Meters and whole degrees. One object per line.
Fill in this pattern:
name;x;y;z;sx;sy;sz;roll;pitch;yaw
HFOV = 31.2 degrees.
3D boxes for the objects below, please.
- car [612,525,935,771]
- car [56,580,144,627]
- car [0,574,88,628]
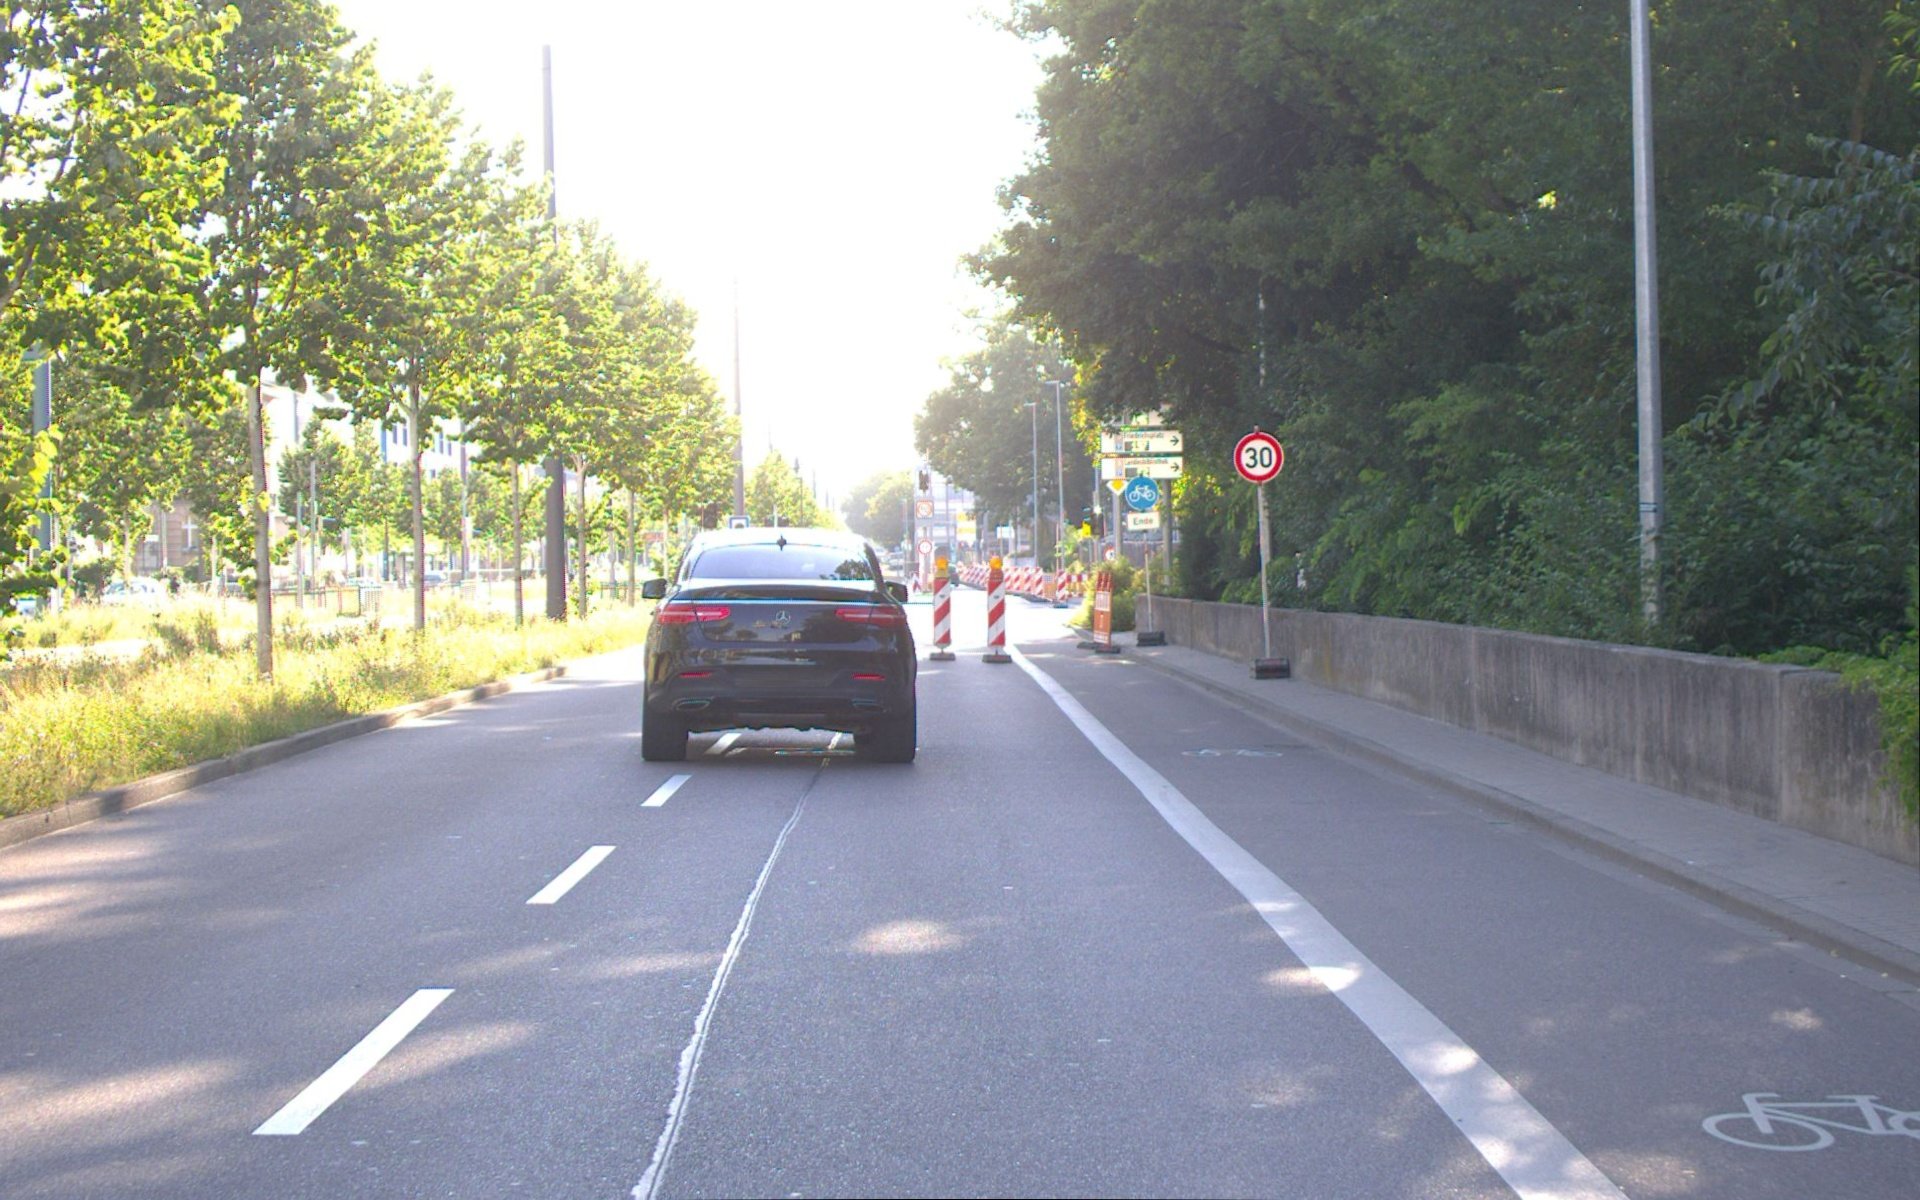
car;-1.508;0.306;26.223;1.993;1.728;4.001;0;1;-10
car;-29.038;0.098;116.178;1.885;1.509;4.000;0;1;1
car;-26.781;0.006;99.692;1.885;1.509;4.000;0;1;1
